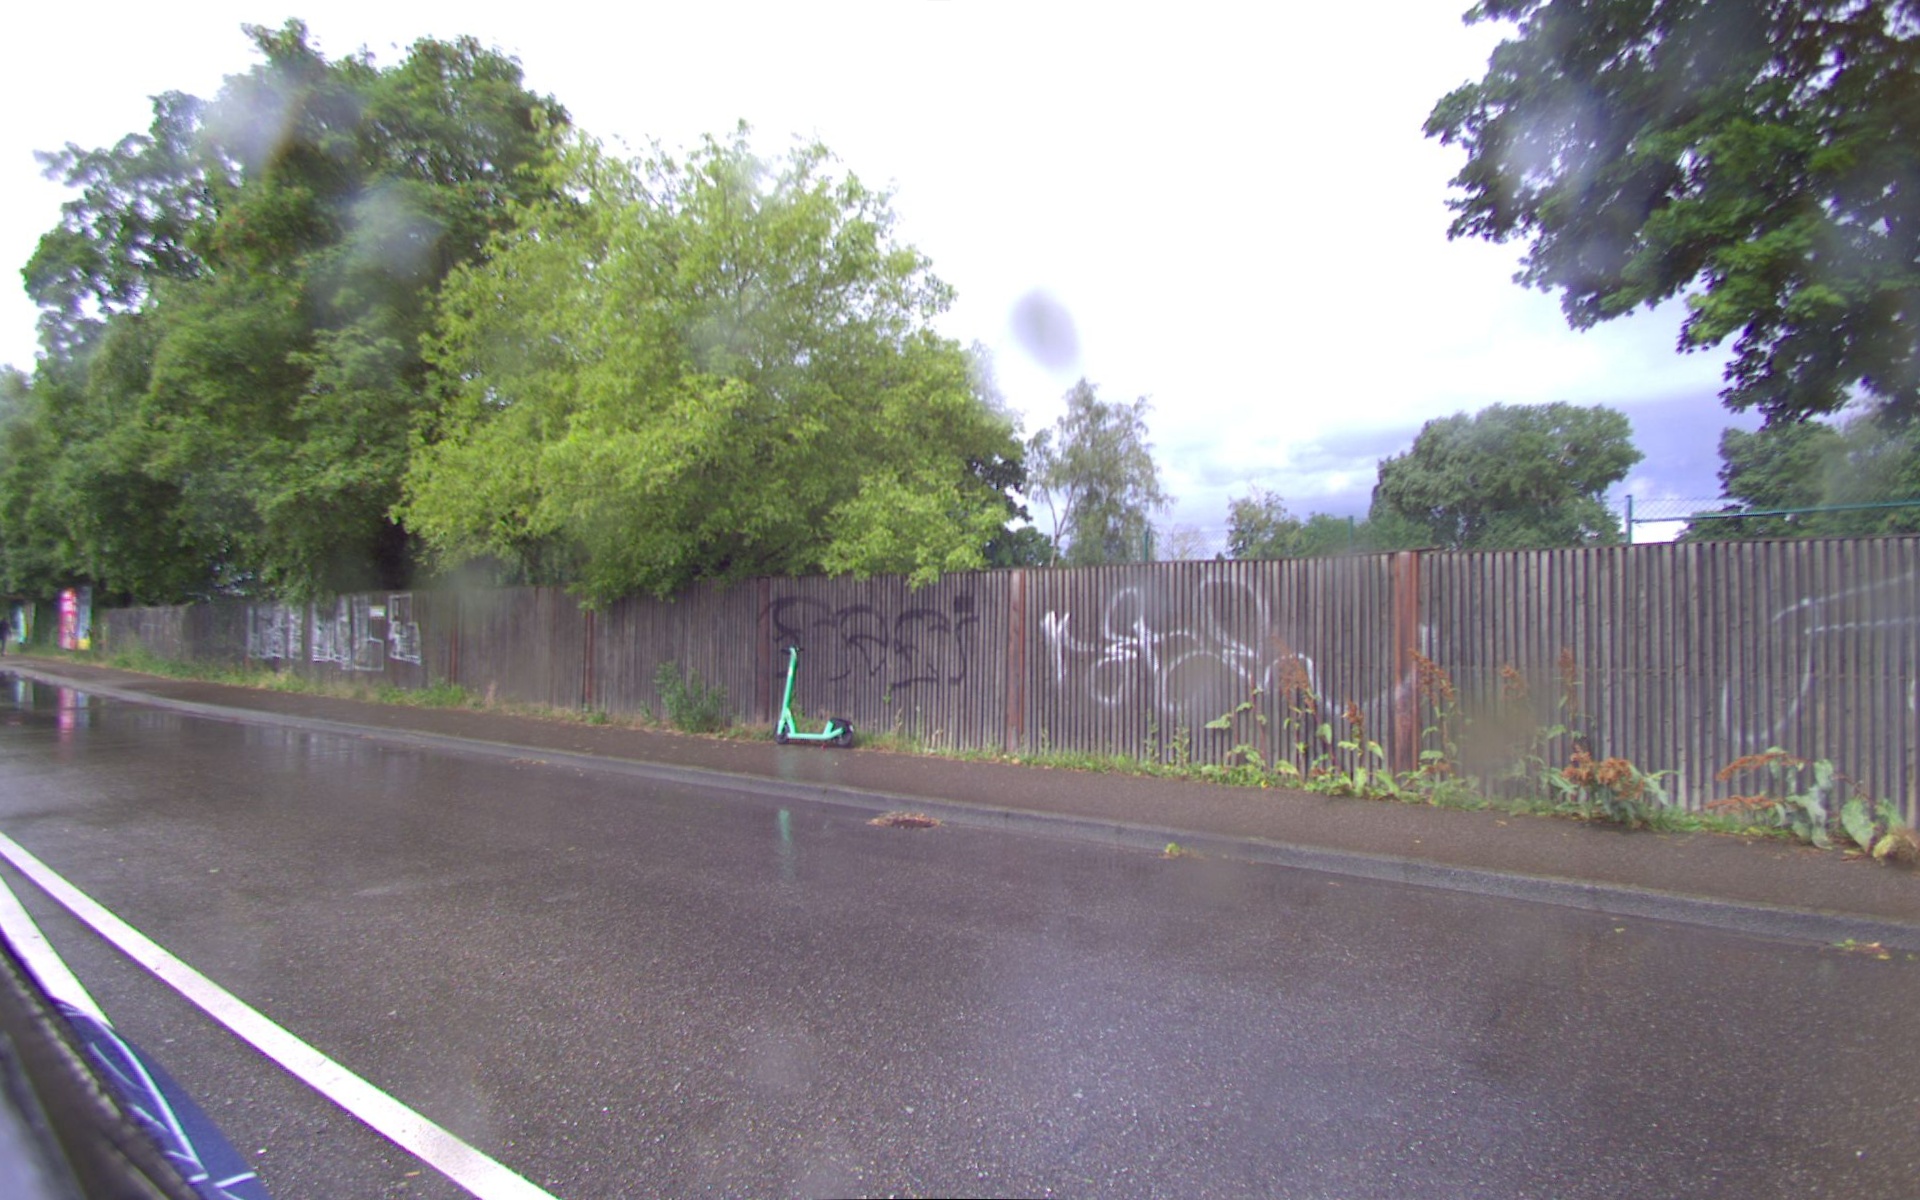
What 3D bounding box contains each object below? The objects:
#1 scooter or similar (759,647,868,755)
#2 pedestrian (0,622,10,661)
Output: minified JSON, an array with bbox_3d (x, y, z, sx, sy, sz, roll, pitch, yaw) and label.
[{"bbox_3d":[-1.714,1.147,11.797,1.205,1.171,0.557,-1,-2,34],"label":"scooter or similar"},{"bbox_3d":[-44.057,1.888,46.226,0.644,1.783,0.830,-2,-3,41],"label":"pedestrian"}]
